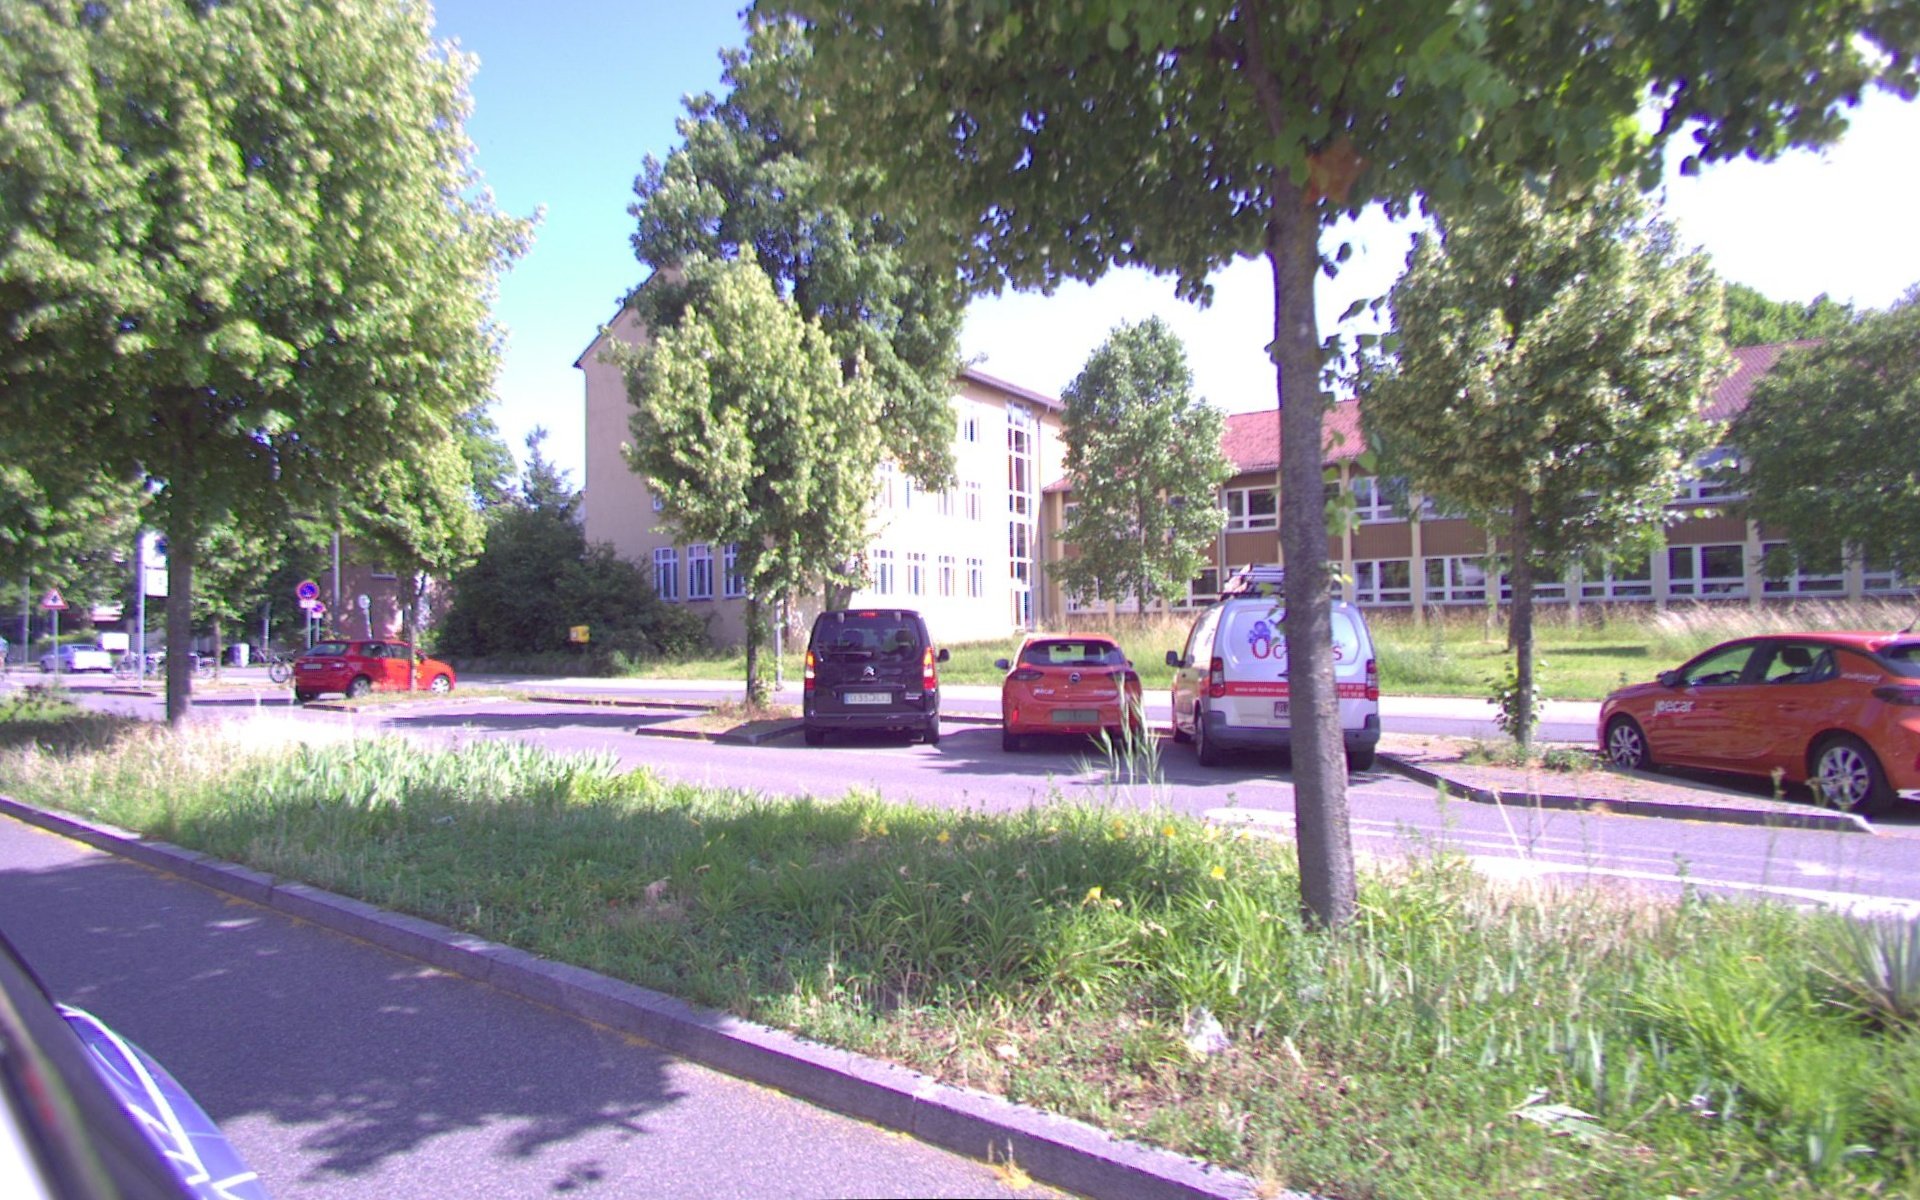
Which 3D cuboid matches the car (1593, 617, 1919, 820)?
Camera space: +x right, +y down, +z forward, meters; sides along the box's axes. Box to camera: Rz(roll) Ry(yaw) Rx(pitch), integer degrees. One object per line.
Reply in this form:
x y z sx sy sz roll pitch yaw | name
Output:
7.634 0.881 8.852 1.691 1.434 3.842 -1 -2 -1 | car

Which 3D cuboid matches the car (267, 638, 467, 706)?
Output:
-14.217 1.714 24.540 1.981 1.478 3.981 -2 -3 14 | car

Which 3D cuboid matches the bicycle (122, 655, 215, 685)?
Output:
-28.424 2.507 36.375 0.737 0.995 2.524 -3 -4 32 | bicycle

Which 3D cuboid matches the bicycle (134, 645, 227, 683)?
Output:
-27.359 2.234 35.570 0.737 1.266 2.495 -3 -4 32 | bicycle

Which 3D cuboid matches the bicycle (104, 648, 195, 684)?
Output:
-30.117 2.436 37.661 0.737 1.266 2.524 -3 -4 32 | bicycle

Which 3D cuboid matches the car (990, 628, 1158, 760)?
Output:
1.394 1.142 13.244 1.832 1.438 3.769 -2 -3 4 | car

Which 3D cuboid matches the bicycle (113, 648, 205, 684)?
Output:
-29.261 2.390 37.031 0.737 1.249 2.524 -3 -4 32 | bicycle

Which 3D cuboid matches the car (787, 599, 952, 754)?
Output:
-1.205 1.025 14.430 1.975 1.830 4.190 -1 -3 -3 | car

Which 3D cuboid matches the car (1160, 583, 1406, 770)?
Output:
3.499 0.795 11.713 1.796 1.785 3.770 -1 -2 4 | car

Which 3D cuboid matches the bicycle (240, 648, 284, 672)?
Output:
-32.961 2.841 47.775 1.687 1.089 0.379 -1 -2 -14 | bicycle

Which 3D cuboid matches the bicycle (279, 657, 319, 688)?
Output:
-20.342 2.223 31.151 1.266 0.910 0.517 -2 -3 31 | bicycle

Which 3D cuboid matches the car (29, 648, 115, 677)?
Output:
-41.722 2.941 47.520 3.980 1.276 1.709 -3 -4 28 | car

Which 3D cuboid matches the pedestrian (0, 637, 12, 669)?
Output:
-54.428 3.007 57.280 0.723 1.793 0.966 -2 -2 31 | pedestrian

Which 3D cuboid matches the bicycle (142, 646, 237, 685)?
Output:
-26.533 2.239 34.908 0.737 1.266 2.524 -2 -2 32 | bicycle
